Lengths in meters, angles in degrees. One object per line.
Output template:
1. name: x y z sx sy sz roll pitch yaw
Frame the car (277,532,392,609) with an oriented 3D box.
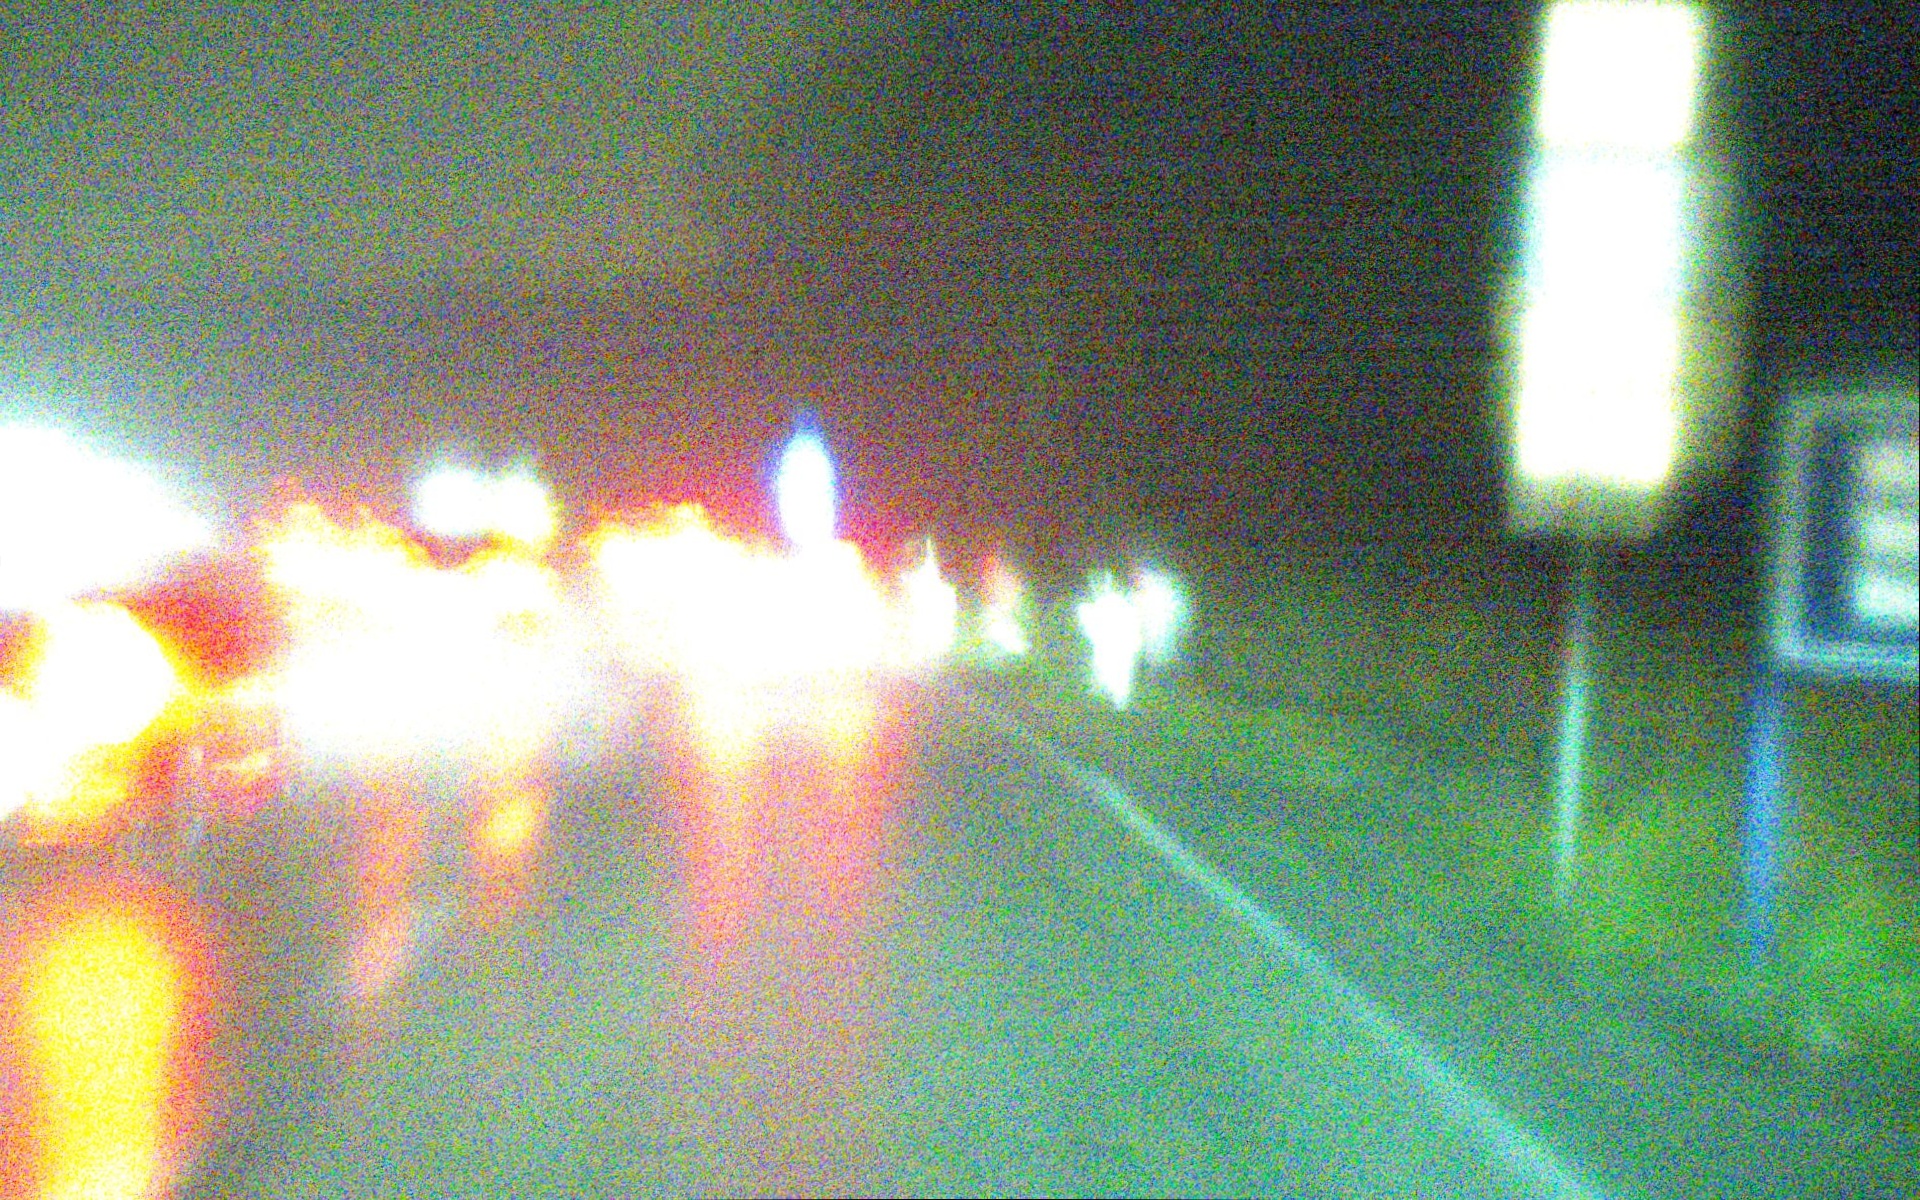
1. car: -13.275 -0.617 73.178 1.892 1.545 4.000 1 0 -3

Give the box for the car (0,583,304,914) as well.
1. car: -4.514 0.621 16.742 1.962 1.376 4.049 2 0 -2
